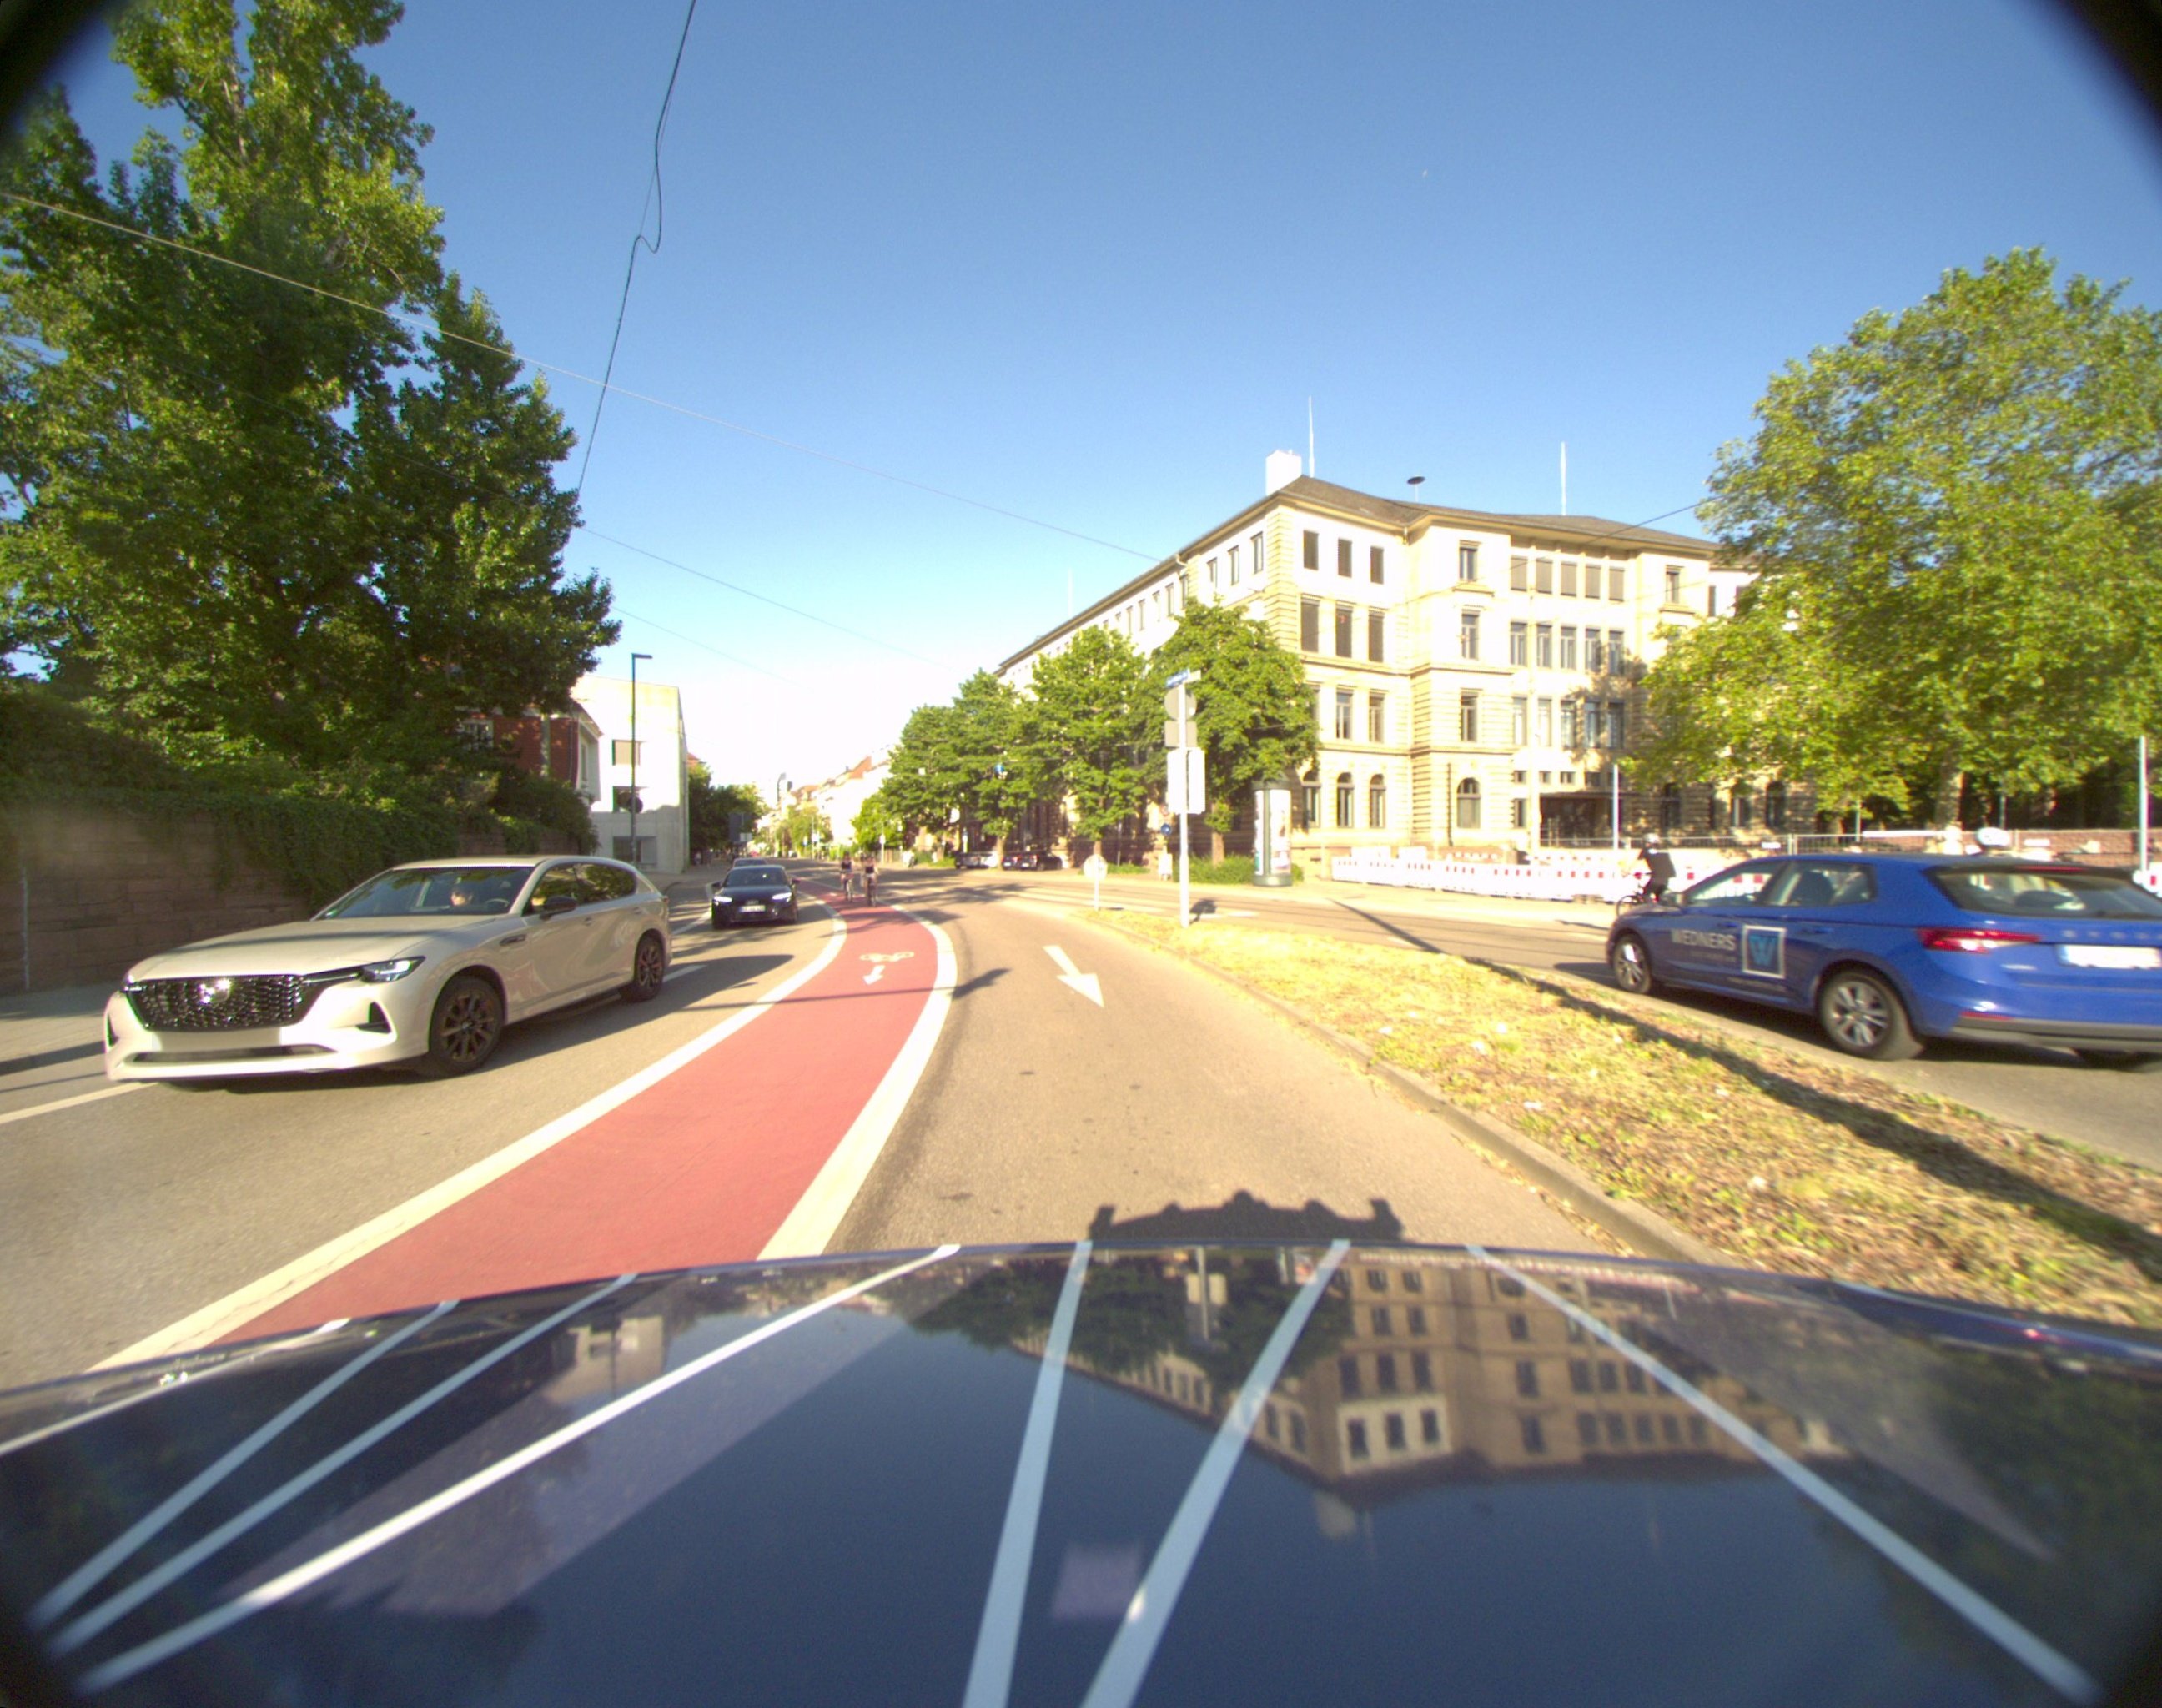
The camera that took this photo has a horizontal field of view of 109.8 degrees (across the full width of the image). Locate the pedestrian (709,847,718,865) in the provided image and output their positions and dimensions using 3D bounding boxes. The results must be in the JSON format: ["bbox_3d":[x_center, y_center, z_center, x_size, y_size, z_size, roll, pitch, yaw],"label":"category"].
[{"bbox_3d":[-33.681,0.207,69.583,0.676,1.638,0.816,-2,1,-25],"label":"pedestrian"}]

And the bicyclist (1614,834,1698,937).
[{"bbox_3d":[9.617,0.510,12.750,0.710,1.648,0.901,2,1,7],"label":"bicyclist"}]

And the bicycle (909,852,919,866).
[{"bbox_3d":[-15.369,0.444,69.960,0.677,1.243,2.453,-1,1,-16],"label":"bicycle"}]

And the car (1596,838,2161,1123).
[{"bbox_3d":[6.297,0.689,6.227,1.740,1.565,3.925,2,2,6],"label":"car"}]

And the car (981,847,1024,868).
[{"bbox_3d":[-6.532,0.261,63.745,1.646,1.552,3.656,-1,2,31],"label":"car"}]

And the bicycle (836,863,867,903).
[{"bbox_3d":[-7.799,0.946,25.751,0.677,1.243,2.451,-1,1,-24],"label":"bicycle"}]

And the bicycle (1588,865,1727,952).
[{"bbox_3d":[9.616,0.849,12.831,0.675,1.243,2.458,2,1,7],"label":"bicycle"}]

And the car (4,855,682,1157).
[{"bbox_3d":[-5.709,0.935,6.968,1.946,1.683,4.528,-2,1,-5],"label":"car"}]

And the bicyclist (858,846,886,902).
[{"bbox_3d":[-6.310,0.580,22.918,0.676,1.638,1.027,-1,1,-24],"label":"bicyclist"}]

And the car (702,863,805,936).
[{"bbox_3d":[-7.887,1.016,18.621,1.790,1.425,3.994,-3,1,-17],"label":"car"}]

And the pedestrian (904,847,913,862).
[{"bbox_3d":[-18.342,0.059,80.709,0.676,1.638,0.816,-2,1,-25],"label":"pedestrian"}]

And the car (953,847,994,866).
[{"bbox_3d":[-9.678,0.243,68.704,1.646,1.552,3.656,-1,2,31],"label":"car"}]

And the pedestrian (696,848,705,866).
[{"bbox_3d":[-34.653,0.249,69.231,0.676,1.638,0.816,-2,1,-25],"label":"pedestrian"}]

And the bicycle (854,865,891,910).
[{"bbox_3d":[-6.332,0.980,22.997,0.677,1.243,2.451,-1,1,-24],"label":"bicycle"}]

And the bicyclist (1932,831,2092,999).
[{"bbox_3d":[9.568,0.595,7.847,0.710,1.648,0.743,0,1,7],"label":"bicyclist"}]

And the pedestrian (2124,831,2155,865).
[{"bbox_3d":[53.196,-0.302,38.182,0.637,1.638,0.675,-1,1,-3],"label":"pedestrian"}]

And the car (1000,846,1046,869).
[{"bbox_3d":[-4.449,0.258,58.404,1.646,1.552,3.656,-1,2,31],"label":"car"}]

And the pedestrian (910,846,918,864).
[{"bbox_3d":[-15.368,0.079,69.923,0.676,1.638,0.816,-1,1,-16],"label":"pedestrian"}]

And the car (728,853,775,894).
[{"bbox_3d":[-14.244,0.798,32.990,1.651,1.552,3.643,-3,1,-22],"label":"car"}]

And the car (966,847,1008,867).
[{"bbox_3d":[-8.089,0.267,65.616,1.646,1.552,3.656,-1,2,31],"label":"car"}]

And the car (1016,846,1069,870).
[{"bbox_3d":[-2.789,0.269,56.117,1.841,1.621,4.188,-1,2,31],"label":"car"}]

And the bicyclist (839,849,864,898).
[{"bbox_3d":[-7.751,0.636,25.640,0.676,1.638,1.027,-1,1,-24],"label":"bicyclist"}]

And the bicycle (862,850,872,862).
[{"bbox_3d":[-23.720,0.187,84.255,0.677,1.243,2.451,-1,1,-24],"label":"bicycle"}]

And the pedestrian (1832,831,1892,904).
[{"bbox_3d":[18.635,0.306,18.136,0.712,1.687,0.898,-1,3,-42],"label":"pedestrian"}]

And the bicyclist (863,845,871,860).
[{"bbox_3d":[-23.725,-0.143,84.284,0.676,1.638,1.027,-1,1,-24],"label":"bicyclist"}]
